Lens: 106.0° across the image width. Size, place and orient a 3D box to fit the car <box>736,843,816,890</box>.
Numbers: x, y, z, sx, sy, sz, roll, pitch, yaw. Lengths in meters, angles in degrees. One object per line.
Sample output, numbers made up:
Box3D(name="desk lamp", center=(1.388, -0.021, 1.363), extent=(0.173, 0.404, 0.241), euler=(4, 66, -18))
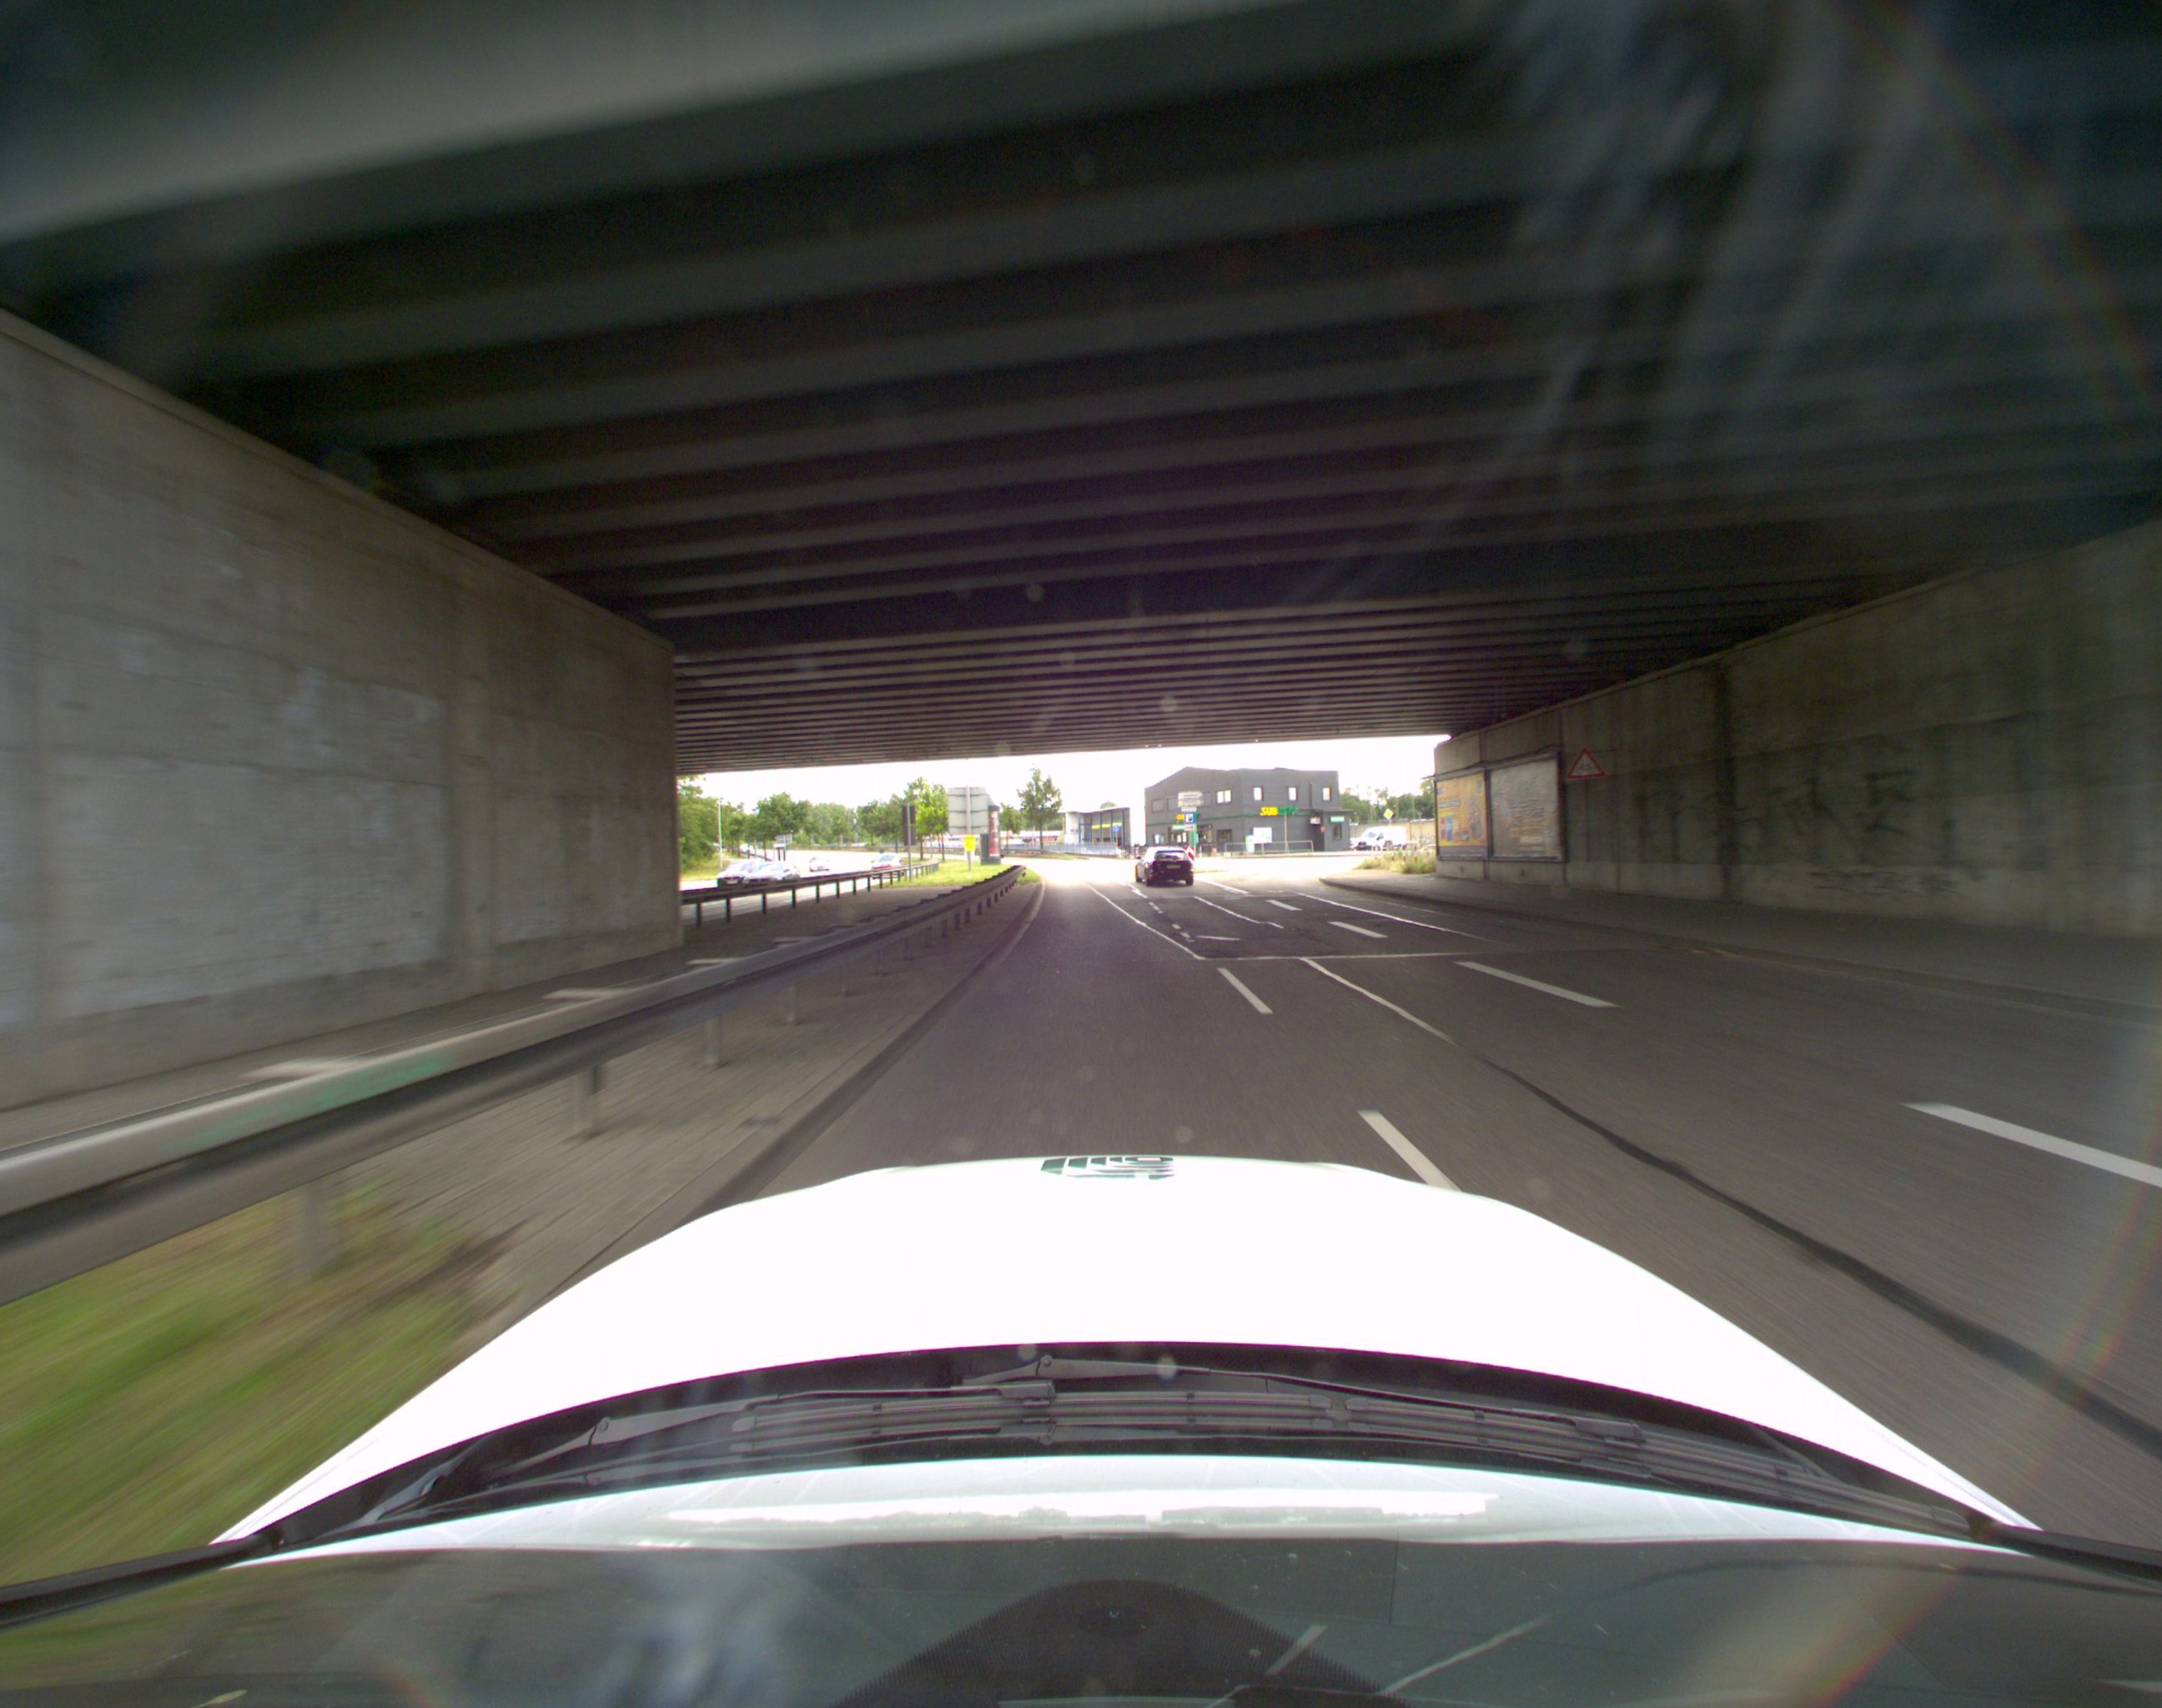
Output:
Box3D(name="car", center=(-14.414, 0.545, 38.804), extent=(1.986, 2.013, 4.458), euler=(-2, 0, 1))

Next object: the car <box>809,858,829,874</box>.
Box3D(name="car", center=(-26.021, 1.165, 80.979), extent=(1.756, 1.510, 3.977), euler=(-2, 1, -17))

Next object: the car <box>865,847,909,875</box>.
Box3D(name="car", center=(-12.338, 0.431, 52.078), extent=(1.990, 1.675, 4.316), euler=(-2, 0, -4))

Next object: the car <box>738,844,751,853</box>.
Box3D(name="car", center=(-61.309, -0.988, 148.310), extent=(2.003, 1.532, 4.296), euler=(-5, 1, -25))

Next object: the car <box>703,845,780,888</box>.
Box3D(name="car", center=(-17.550, 0.598, 42.355), extent=(1.986, 2.013, 4.338), euler=(-2, 0, 1))

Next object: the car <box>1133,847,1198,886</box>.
Box3D(name="car", center=(3.206, 0.432, 31.907), extent=(1.988, 1.390, 4.573), euler=(-1, 1, -1))

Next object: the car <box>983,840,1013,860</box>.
Box3D(name="car", center=(-9.214, -0.374, 89.920), extent=(2.002, 2.037, 4.676), euler=(-2, 0, -23))

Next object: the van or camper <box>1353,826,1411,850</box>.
Box3D(name="van or camper", center=(29.494, -1.537, 79.758), extent=(6.273, 2.173, 2.103), euler=(0, -1, -35))
